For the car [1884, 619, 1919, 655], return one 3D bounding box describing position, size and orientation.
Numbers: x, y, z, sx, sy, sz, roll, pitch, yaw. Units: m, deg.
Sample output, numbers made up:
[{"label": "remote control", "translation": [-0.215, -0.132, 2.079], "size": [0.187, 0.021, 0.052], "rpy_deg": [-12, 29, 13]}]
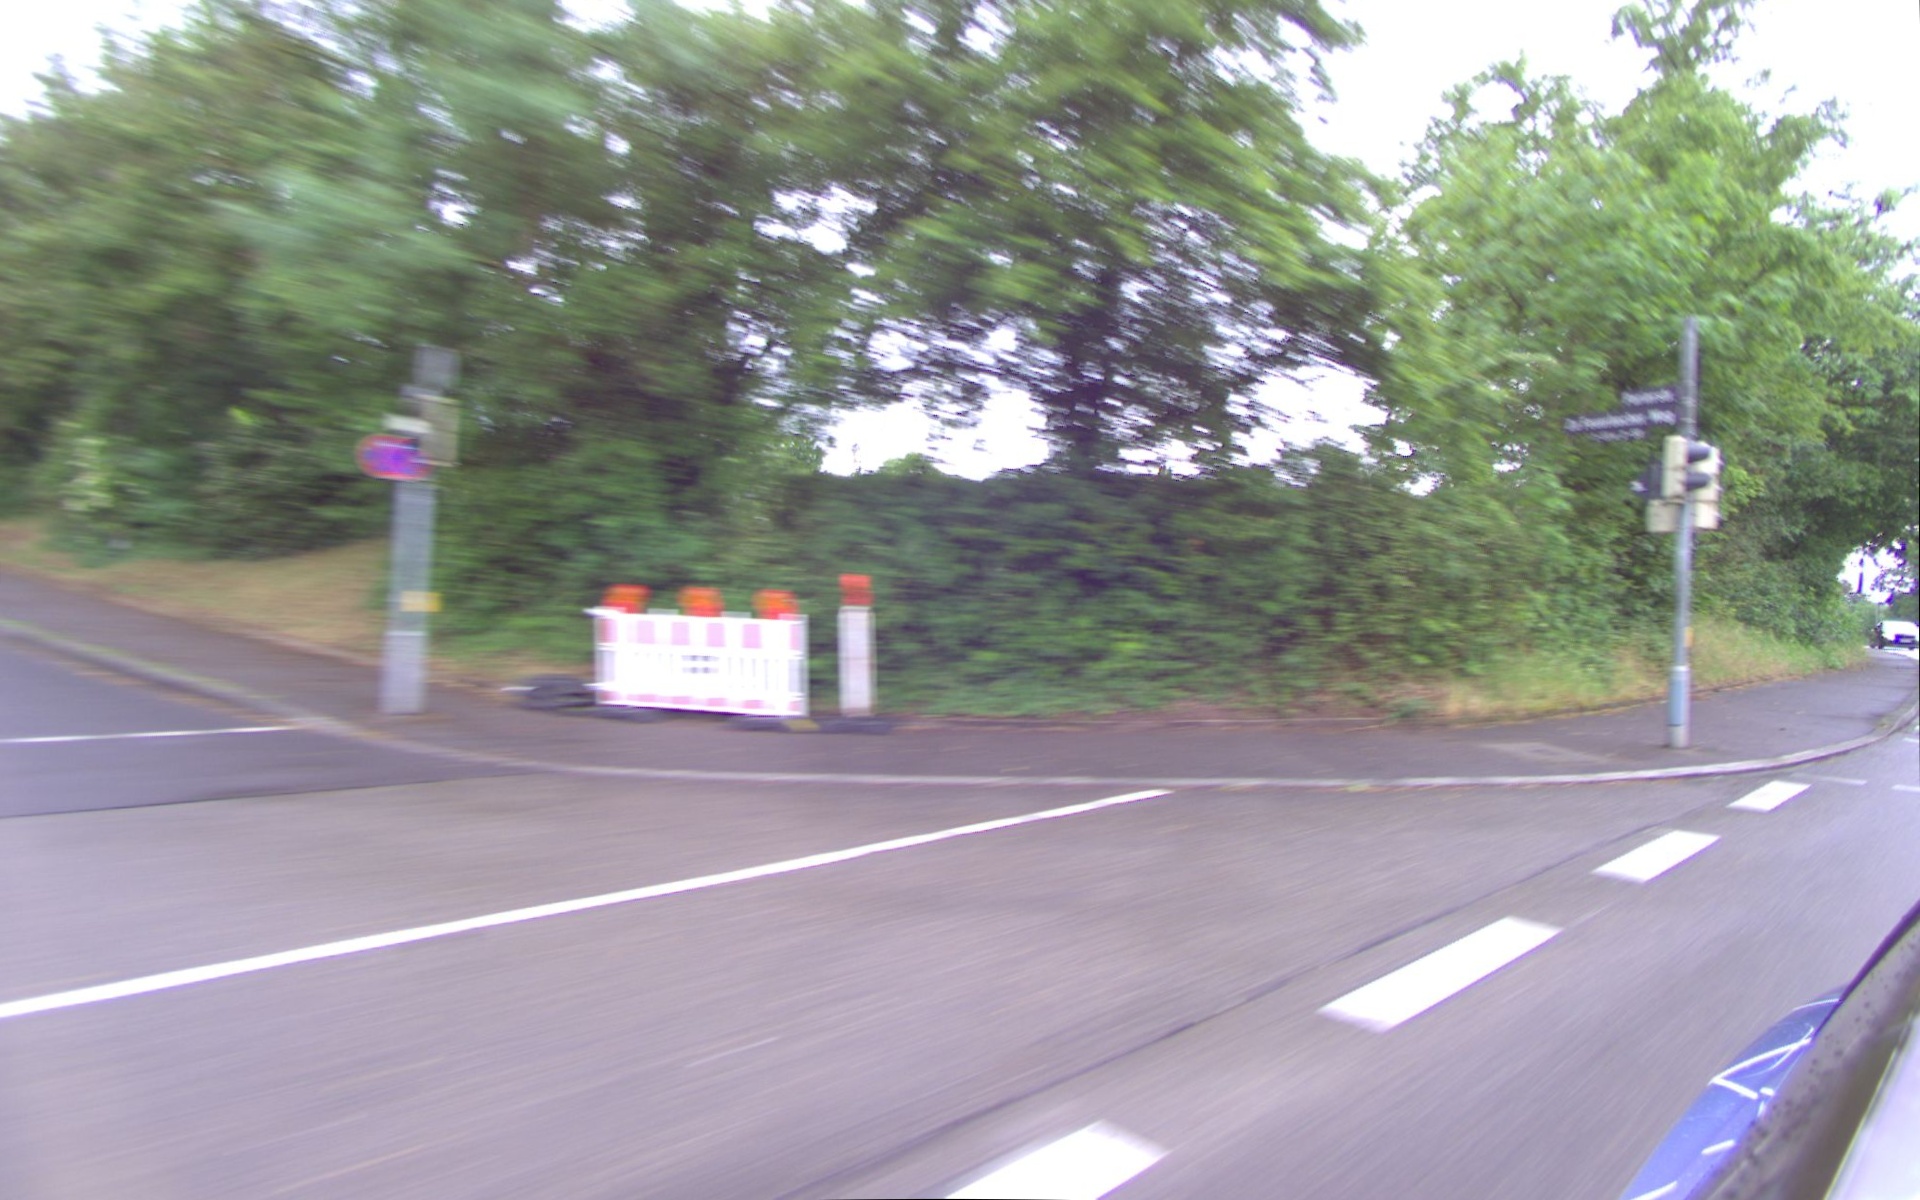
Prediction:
[{"label": "car", "translation": [48.292, 1.941, 51.299], "size": [1.994, 1.605, 3.936], "rpy_deg": [5, 1, 43]}]
